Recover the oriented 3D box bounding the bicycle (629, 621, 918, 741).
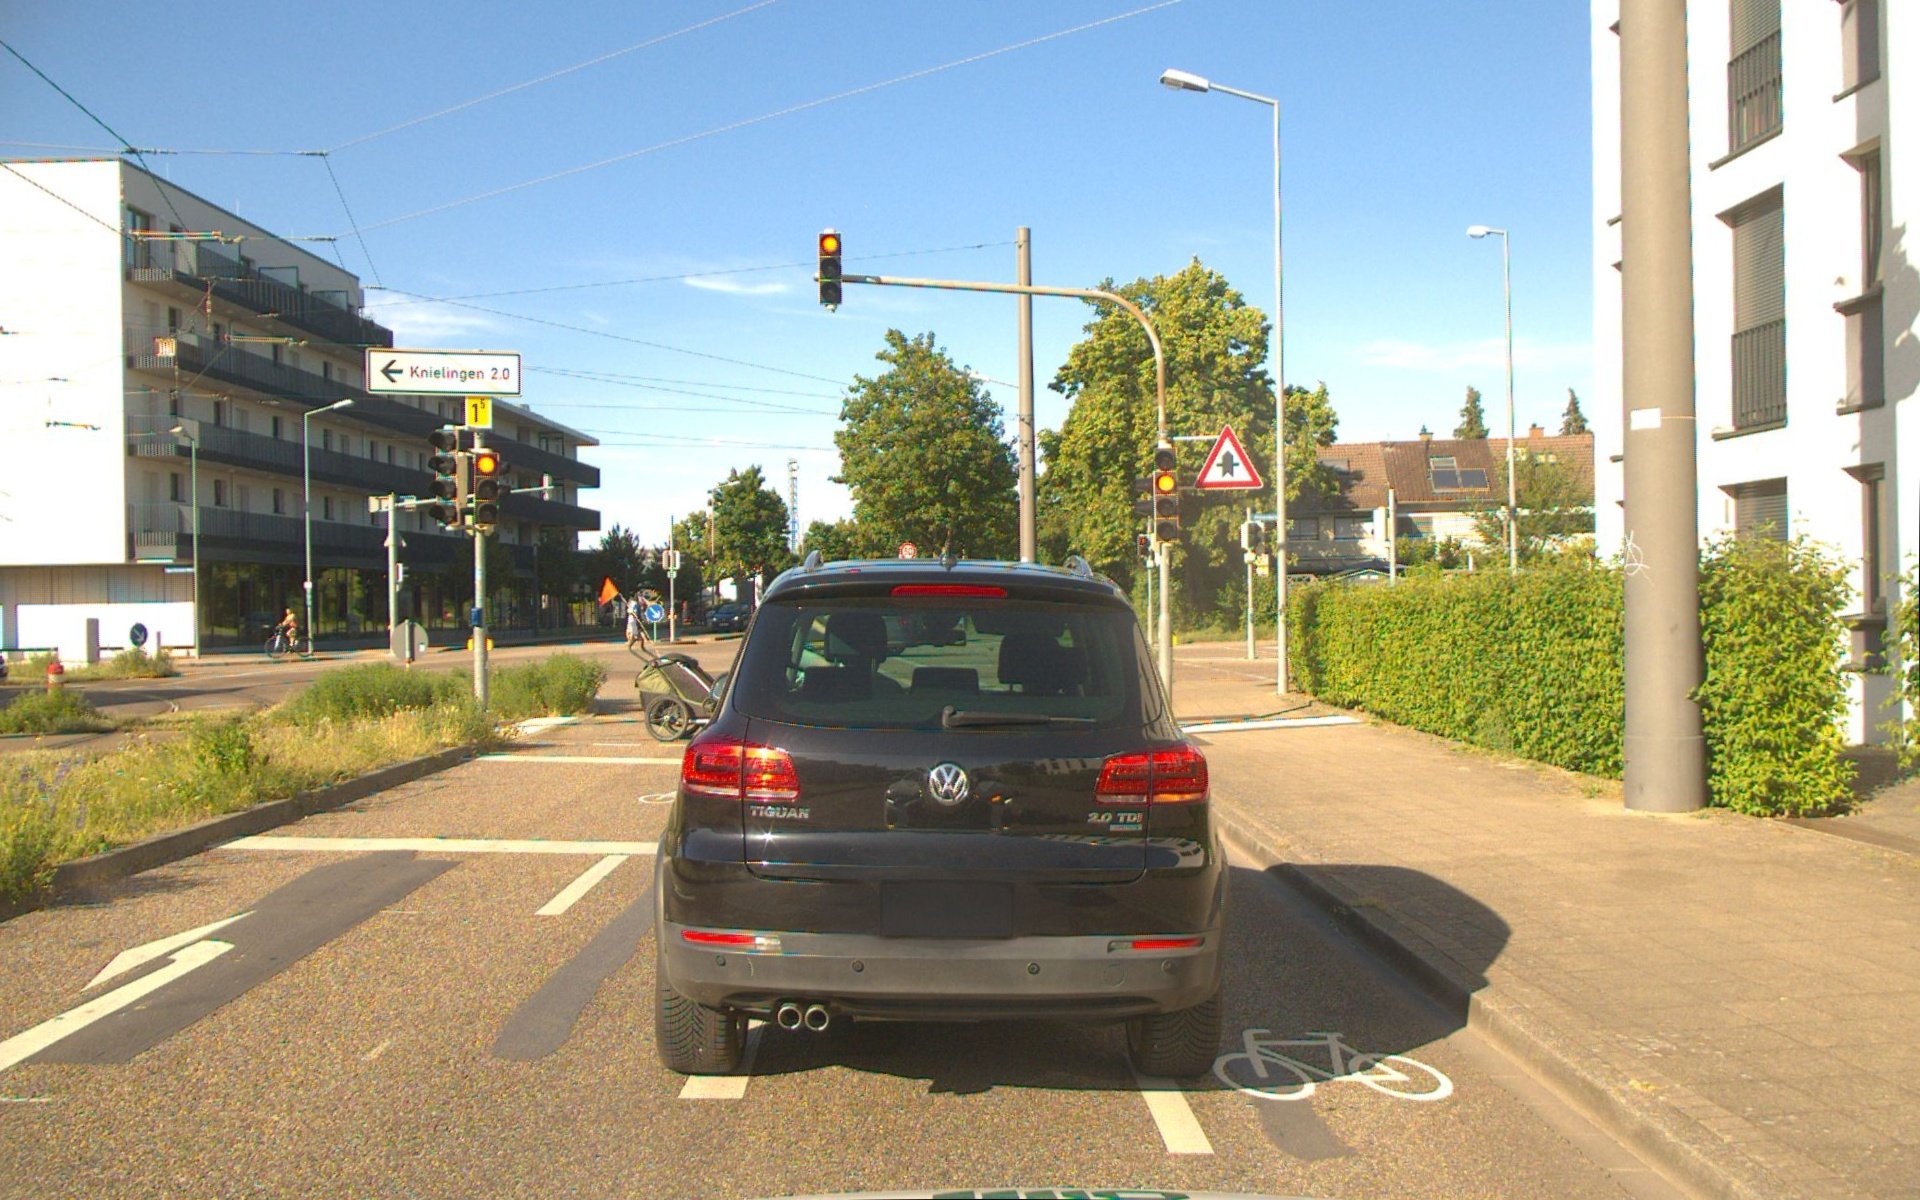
[{"bbox_3d":[-2.022,0.868,18.182,3.054,1.194,0.930,-1,0,-5],"label":"bicycle"}]

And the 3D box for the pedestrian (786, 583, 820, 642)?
[{"bbox_3d":[-4.609,0.368,48.684,0.795,1.721,0.621,-1,0,15],"label":"pedestrian"}]

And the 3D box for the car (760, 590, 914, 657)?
[{"bbox_3d":[-3.334,0.636,45.376,3.903,1.713,2.001,1,0,4],"label":"car"}]

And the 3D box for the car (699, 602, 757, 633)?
[{"bbox_3d":[-12.835,0.963,91.743,1.951,1.601,4.343,1,0,9],"label":"car"}]

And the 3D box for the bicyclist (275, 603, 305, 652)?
[{"bbox_3d":[-22.595,0.928,55.755,0.771,1.642,0.637,0,-1,41],"label":"bicyclist"}]

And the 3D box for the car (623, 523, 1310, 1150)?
[{"bbox_3d":[-0.005,0.648,6.463,1.831,1.666,3.999,1,0,-1],"label":"car"}]

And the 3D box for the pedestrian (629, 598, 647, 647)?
[{"bbox_3d":[-11.672,0.815,59.963,0.532,1.774,0.517,1,-1,-6],"label":"pedestrian"}]

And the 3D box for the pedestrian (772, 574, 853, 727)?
[{"bbox_3d":[-1.617,0.546,18.225,0.835,1.622,0.913,-1,0,-5],"label":"pedestrian"}]

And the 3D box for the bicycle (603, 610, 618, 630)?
[{"bbox_3d":[-23.620,1.354,111.742,0.617,1.355,1.912,1,0,-1],"label":"bicycle"}]

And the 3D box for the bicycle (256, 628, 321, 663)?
[{"bbox_3d":[-22.648,1.512,55.804,0.807,1.144,1.850,1,-1,41],"label":"bicycle"}]

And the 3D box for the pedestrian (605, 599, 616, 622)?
[{"bbox_3d":[-23.600,0.717,111.757,0.629,1.535,0.596,1,-1,-1],"label":"pedestrian"}]

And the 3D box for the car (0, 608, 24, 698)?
[{"bbox_3d":[-20.844,1.068,32.862,3.622,1.750,1.858,-1,0,-21],"label":"car"}]

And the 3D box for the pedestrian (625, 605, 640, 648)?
[{"bbox_3d":[-11.759,0.953,59.399,0.433,1.529,0.517,1,-1,-6],"label":"pedestrian"}]

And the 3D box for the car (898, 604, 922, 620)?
[{"bbox_3d":[-5.393,1.278,177.435,1.951,1.601,4.342,1,0,7],"label":"car"}]
